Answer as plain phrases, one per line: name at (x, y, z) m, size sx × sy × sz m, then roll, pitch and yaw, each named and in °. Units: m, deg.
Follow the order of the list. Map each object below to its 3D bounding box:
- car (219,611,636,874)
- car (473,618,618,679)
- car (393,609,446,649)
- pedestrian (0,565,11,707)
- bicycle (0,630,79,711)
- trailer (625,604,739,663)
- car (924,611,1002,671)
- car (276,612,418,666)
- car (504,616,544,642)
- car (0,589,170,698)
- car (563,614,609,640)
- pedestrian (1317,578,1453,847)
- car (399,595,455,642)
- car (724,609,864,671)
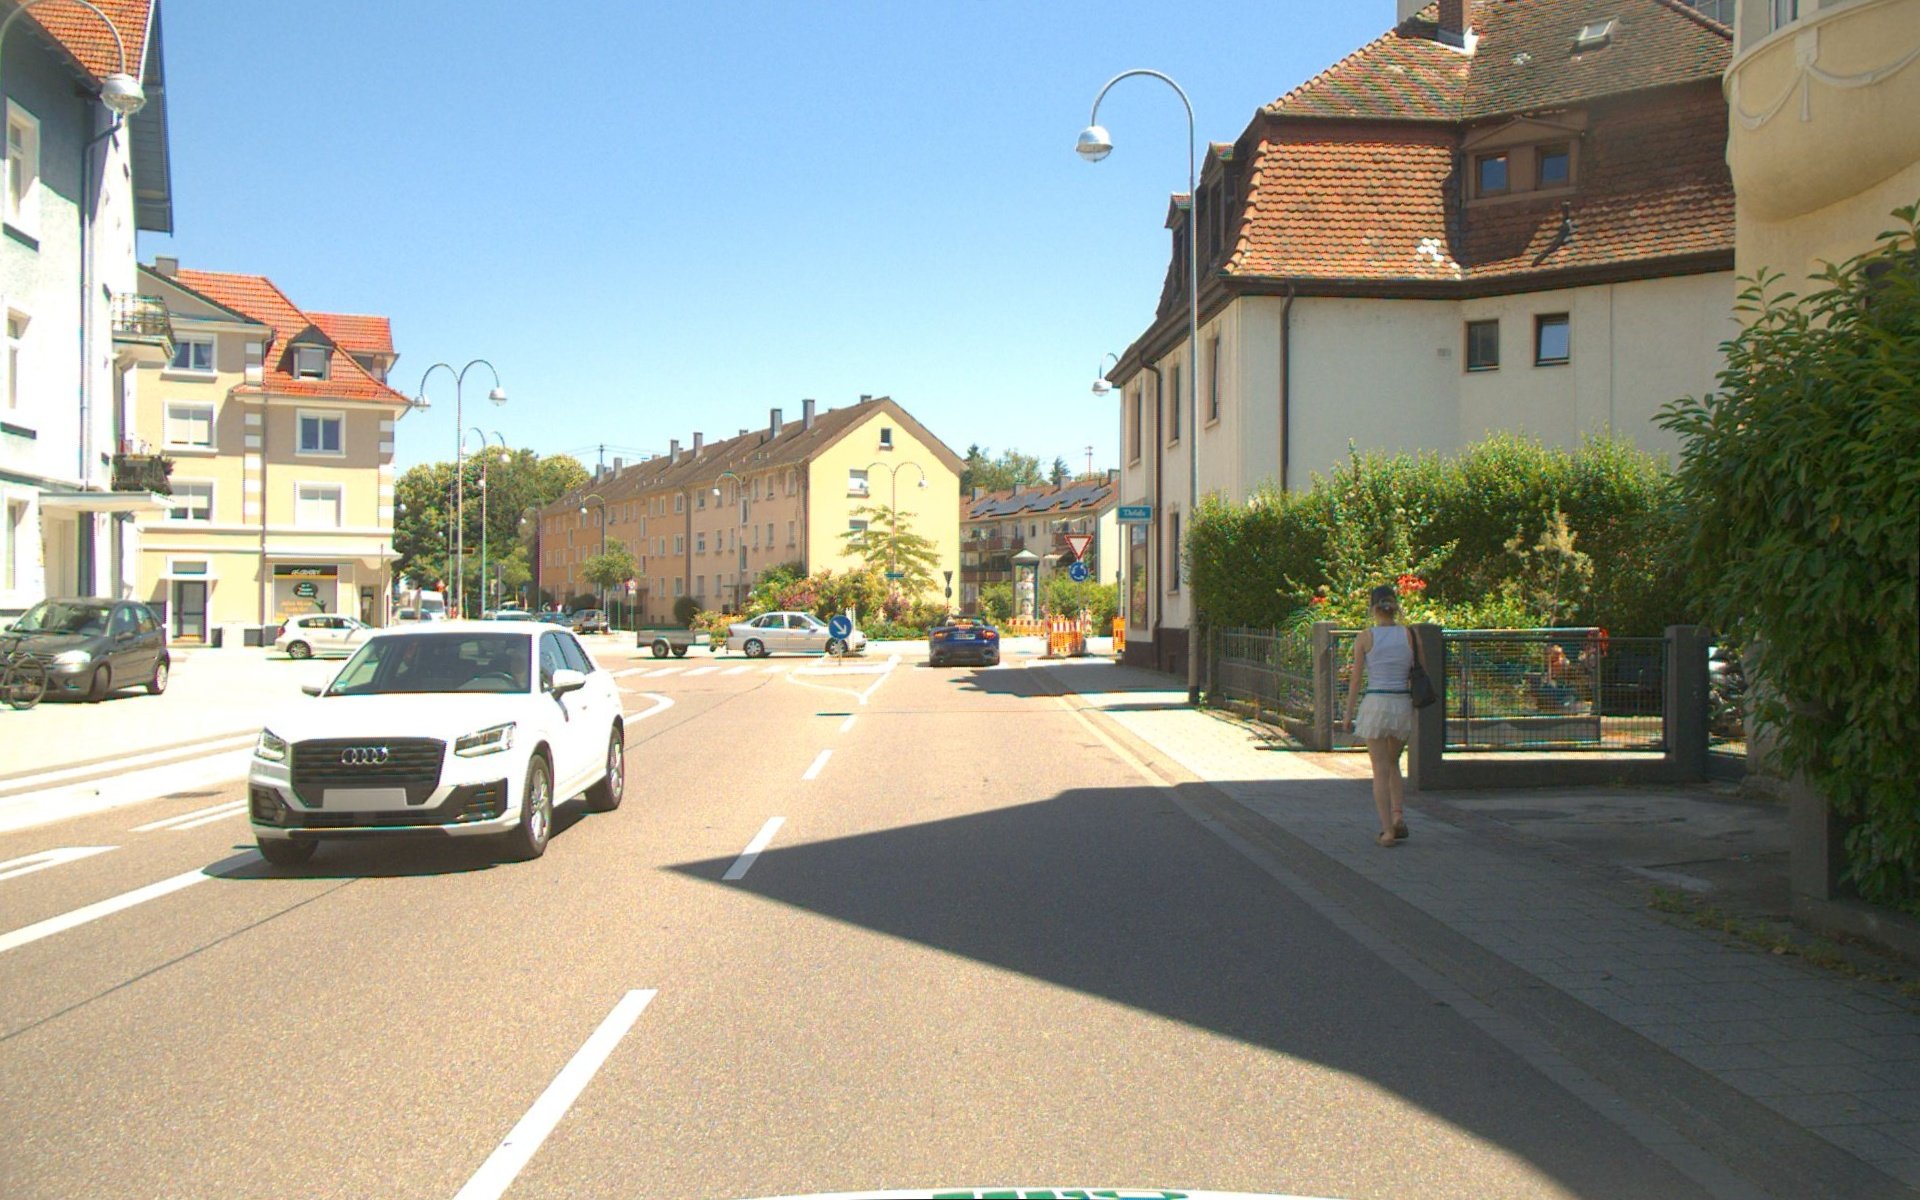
car at (-3.556, 0.930, 11.850) m, size 1.784 × 1.557 × 3.948 m, roll 0°, pitch -2°, yaw -2°
car at (-14.130, 1.648, 56.530) m, size 4.356 × 1.556 × 1.817 m, roll -7°, pitch 3°, yaw -41°
car at (-24.279, 1.294, 74.183) m, size 1.752 × 1.715 × 4.658 m, roll 1°, pitch -1°, yaw -24°
pedestrian at (-10.826, 0.533, 17.760) m, size 0.742 × 1.880 × 0.770 m, roll 4°, pitch -2°, yaw -9°
bicycle at (-12.403, 0.906, 21.682) m, size 0.485 × 0.994 × 1.974 m, roll 4°, pitch -1°, yaw 3°
trailer at (-8.739, 1.055, 52.158) m, size 3.119 × 1.747 × 1.758 m, roll 1°, pitch -1°, yaw 7°
car at (0.034, 1.145, 44.824) m, size 1.833 × 1.557 × 4.503 m, roll 0°, pitch -2°, yaw -3°
car at (-19.733, 1.263, 53.417) m, size 4.044 × 1.578 × 1.781 m, roll 2°, pitch -1°, yaw -13°
car at (-31.379, 2.070, 119.053) m, size 1.793 × 1.825 × 3.960 m, roll 3°, pitch -2°, yaw -29°
car at (-13.644, 0.705, 25.666) m, size 1.549 × 1.561 × 3.764 m, roll 1°, pitch -2°, yaw -11°
car at (-23.655, 1.705, 104.572) m, size 1.793 × 1.526 × 3.960 m, roll 3°, pitch -2°, yaw -29°
pedestrian at (2.740, 0.707, 10.725) m, size 0.611 × 1.673 × 0.771 m, roll -1°, pitch -1°, yaw -5°
car at (-30.840, 1.082, 95.563) m, size 2.118 × 2.577 × 6.184 m, roll 3°, pitch -2°, yaw -26°
car at (-5.162, 1.250, 51.766) m, size 4.027 × 1.778 × 1.788 m, roll 1°, pitch -1°, yaw 7°
